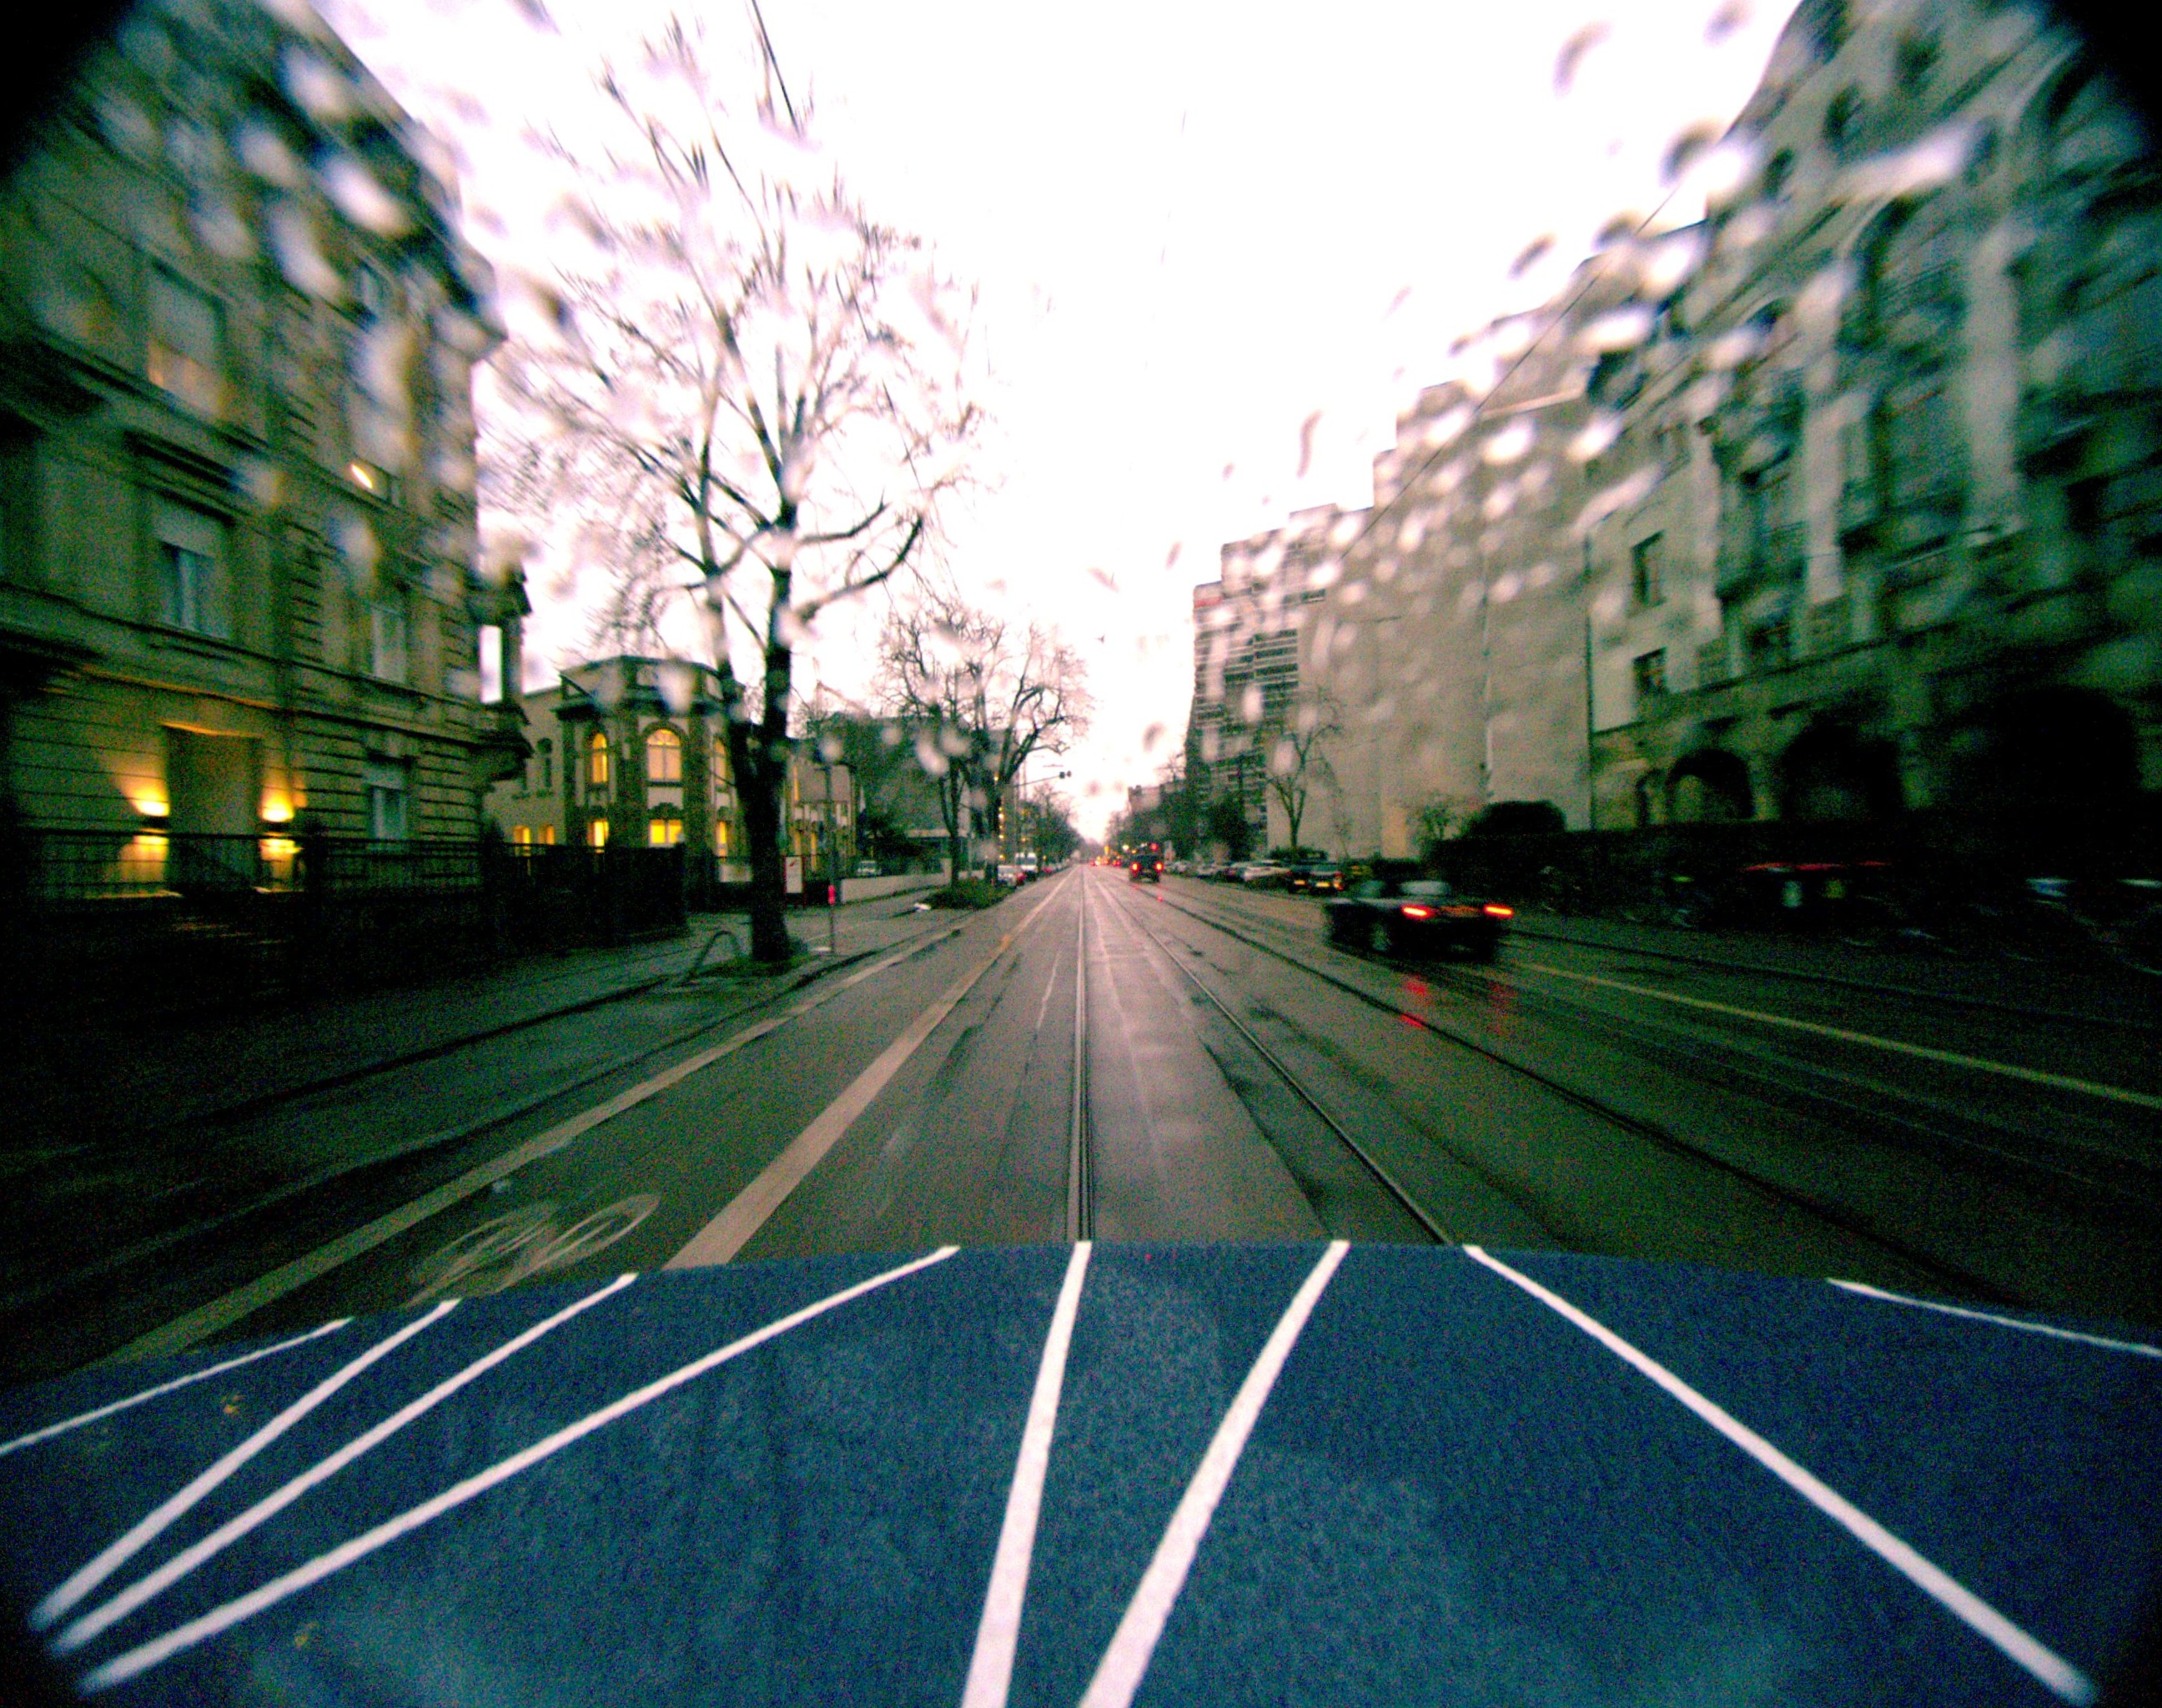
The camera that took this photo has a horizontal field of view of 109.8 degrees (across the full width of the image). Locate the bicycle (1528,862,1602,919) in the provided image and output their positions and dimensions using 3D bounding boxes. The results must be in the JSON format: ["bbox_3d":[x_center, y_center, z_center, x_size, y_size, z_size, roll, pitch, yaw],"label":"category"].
[{"bbox_3d":[10.793,0.786,17.011,0.625,1.205,1.663,-1,0,3],"label":"bicycle"}]

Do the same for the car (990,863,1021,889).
[{"bbox_3d":[-4.551,1.314,46.397,1.628,1.399,3.999,-2,0,-3],"label":"car"}]

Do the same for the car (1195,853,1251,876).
[{"bbox_3d":[10.815,0.810,57.830,4.007,1.586,1.864,-2,0,-36],"label":"car"}]

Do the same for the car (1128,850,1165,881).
[{"bbox_3d":[4.649,0.789,54.541,2.238,2.002,4.461,-2,1,0],"label":"car"}]

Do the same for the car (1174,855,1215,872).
[{"bbox_3d":[11.626,0.994,77.758,4.007,1.586,1.864,-2,0,-36],"label":"car"}]

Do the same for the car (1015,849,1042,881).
[{"bbox_3d":[-4.571,0.884,66.607,2.093,2.622,5.448,-2,1,-3],"label":"car"}]

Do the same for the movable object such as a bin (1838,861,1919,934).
[{"bbox_3d":[13.249,0.711,12.636,0.625,1.157,0.675,-1,0,3],"label":"movable object such as a bin"}]

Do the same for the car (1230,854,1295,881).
[{"bbox_3d":[11.620,0.829,48.627,4.007,1.586,1.864,-2,0,-36],"label":"car"}]

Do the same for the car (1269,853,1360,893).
[{"bbox_3d":[10.565,0.833,34.277,4.007,1.586,1.864,-2,0,-36],"label":"car"}]

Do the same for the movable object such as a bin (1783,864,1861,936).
[{"bbox_3d":[12.319,0.753,12.649,0.625,1.157,0.675,-1,0,3],"label":"movable object such as a bin"}]

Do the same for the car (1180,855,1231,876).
[{"bbox_3d":[10.464,0.960,63.654,4.007,1.586,1.864,-2,0,-36],"label":"car"}]

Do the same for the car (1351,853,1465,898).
[{"bbox_3d":[12.490,0.789,28.961,4.005,1.485,1.865,-2,0,-28],"label":"car"}]

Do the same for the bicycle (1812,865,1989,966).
[{"bbox_3d":[10.900,0.772,10.196,0.625,1.205,1.663,-1,0,3],"label":"bicycle"}]

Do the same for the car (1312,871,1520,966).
[{"bbox_3d":[5.250,0.941,12.459,1.711,1.245,3.665,-1,0,-1],"label":"car"}]

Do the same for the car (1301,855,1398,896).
[{"bbox_3d":[11.071,0.858,31.263,4.007,1.477,1.760,-2,0,-36],"label":"car"}]

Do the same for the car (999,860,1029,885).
[{"bbox_3d":[-4.910,1.334,56.416,1.999,1.672,3.999,-2,1,-3],"label":"car"}]

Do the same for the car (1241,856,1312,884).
[{"bbox_3d":[11.520,0.923,44.633,4.007,1.440,1.864,-2,0,-36],"label":"car"}]

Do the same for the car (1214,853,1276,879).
[{"bbox_3d":[11.093,0.815,51.277,4.007,1.586,1.864,-2,0,-36],"label":"car"}]

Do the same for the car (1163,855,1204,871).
[{"bbox_3d":[10.764,0.941,79.656,4.007,1.586,1.864,-2,0,-36],"label":"car"}]

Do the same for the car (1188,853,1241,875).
[{"bbox_3d":[10.682,0.802,60.558,4.007,1.586,1.864,-2,0,-36],"label":"car"}]

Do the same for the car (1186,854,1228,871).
[{"bbox_3d":[12.450,0.818,75.000,4.007,1.586,1.864,-2,0,-36],"label":"car"}]

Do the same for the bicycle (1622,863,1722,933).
[{"bbox_3d":[10.996,0.792,14.207,0.625,1.205,1.663,-1,0,3],"label":"bicycle"}]

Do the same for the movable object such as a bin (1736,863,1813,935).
[{"bbox_3d":[11.643,0.748,12.781,0.659,1.157,0.675,-1,0,3],"label":"movable object such as a bin"}]

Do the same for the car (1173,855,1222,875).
[{"bbox_3d":[10.161,0.927,66.206,4.007,1.586,1.864,-2,0,-36],"label":"car"}]

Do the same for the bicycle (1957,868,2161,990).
[{"bbox_3d":[10.809,0.751,8.288,0.625,1.157,1.663,-1,0,3],"label":"bicycle"}]

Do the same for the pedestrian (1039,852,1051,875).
[{"bbox_3d":[-3.575,0.965,76.385,1.118,2.246,0.952,-2,1,-2],"label":"pedestrian"}]

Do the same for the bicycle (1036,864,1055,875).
[{"bbox_3d":[-3.552,1.585,76.397,1.917,0.986,0.858,-2,1,-2],"label":"bicycle"}]

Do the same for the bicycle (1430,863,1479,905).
[{"bbox_3d":[10.756,0.844,21.927,0.625,1.157,1.663,-2,0,3],"label":"bicycle"}]
